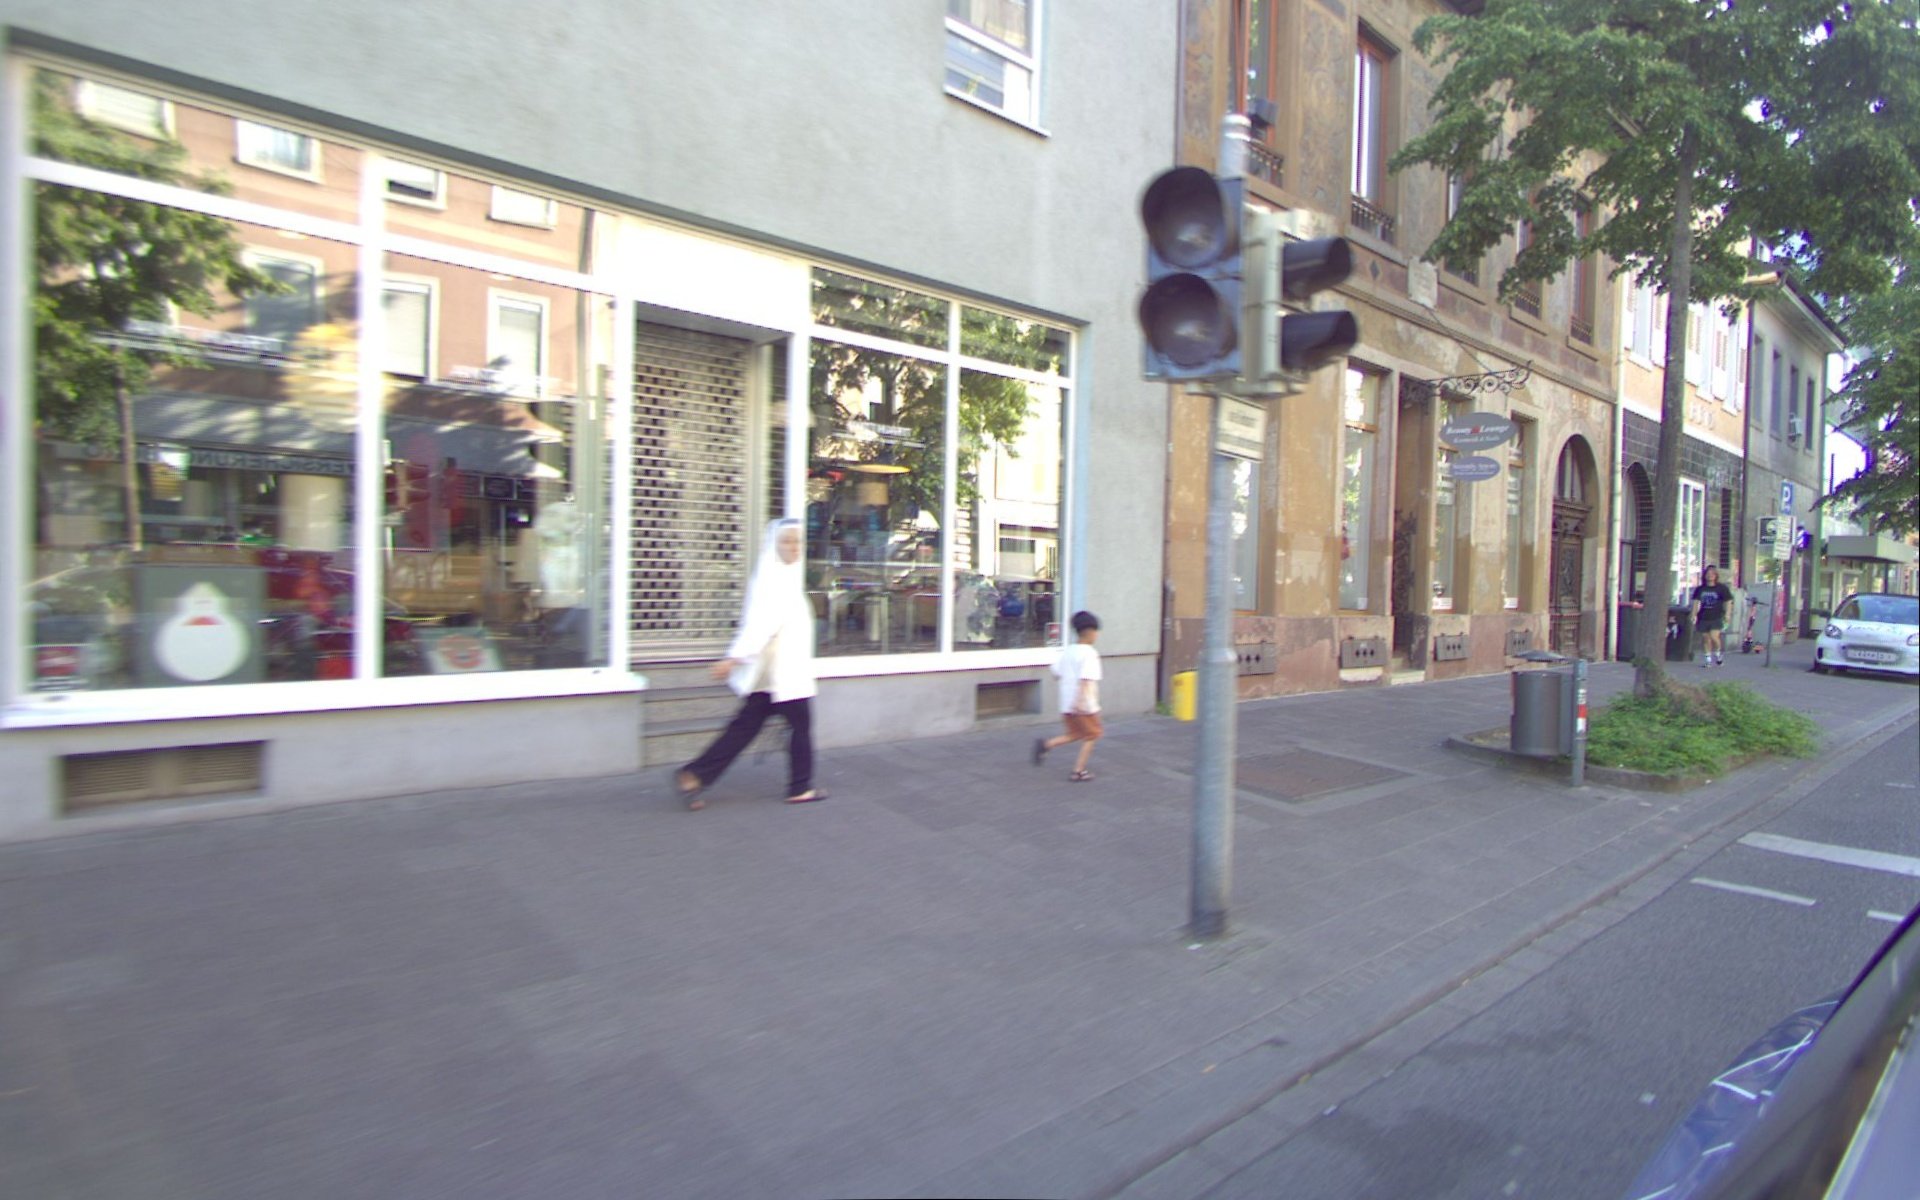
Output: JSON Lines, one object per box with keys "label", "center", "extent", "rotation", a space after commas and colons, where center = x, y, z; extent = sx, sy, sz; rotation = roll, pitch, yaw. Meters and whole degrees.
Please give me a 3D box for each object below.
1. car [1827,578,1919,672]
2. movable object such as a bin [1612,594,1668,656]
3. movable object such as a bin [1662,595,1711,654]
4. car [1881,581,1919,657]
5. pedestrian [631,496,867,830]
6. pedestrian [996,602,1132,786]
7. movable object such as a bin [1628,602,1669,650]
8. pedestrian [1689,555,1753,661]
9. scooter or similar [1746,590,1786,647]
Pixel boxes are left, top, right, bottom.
{"label": "car", "center": [17.292, 0.427, 18.575], "extent": [3.008, 1.547, 1.617], "rotation": [0, 4, -42]}
{"label": "movable object such as a bin", "center": [12.188, 0.437, 18.147], "extent": [0.709, 1.052, 0.590], "rotation": [0, 4, -40]}
{"label": "movable object such as a bin", "center": [13.582, 0.449, 18.916], "extent": [0.709, 1.052, 0.523], "rotation": [0, 4, -40]}
{"label": "car", "center": [21.804, 0.438, 22.367], "extent": [4.161, 1.546, 1.618], "rotation": [0, 5, -42]}
{"label": "pedestrian", "center": [-1.101, 0.280, 5.328], "extent": [1.003, 1.578, 0.582], "rotation": [0, 5, -42]}
{"label": "pedestrian", "center": [0.652, 0.552, 6.291], "extent": [0.727, 1.045, 0.394], "rotation": [0, 5, -42]}
{"label": "movable object such as a bin", "center": [13.115, 0.491, 19.279], "extent": [0.470, 0.871, 0.512], "rotation": [0, 2, -39]}
{"label": "pedestrian", "center": [13.444, 0.126, 17.880], "extent": [0.757, 1.786, 0.624], "rotation": [0, 4, -40]}
{"label": "scooter or similar", "center": [17.801, 0.393, 22.348], "extent": [1.147, 1.201, 0.400], "rotation": [0, 4, -40]}
